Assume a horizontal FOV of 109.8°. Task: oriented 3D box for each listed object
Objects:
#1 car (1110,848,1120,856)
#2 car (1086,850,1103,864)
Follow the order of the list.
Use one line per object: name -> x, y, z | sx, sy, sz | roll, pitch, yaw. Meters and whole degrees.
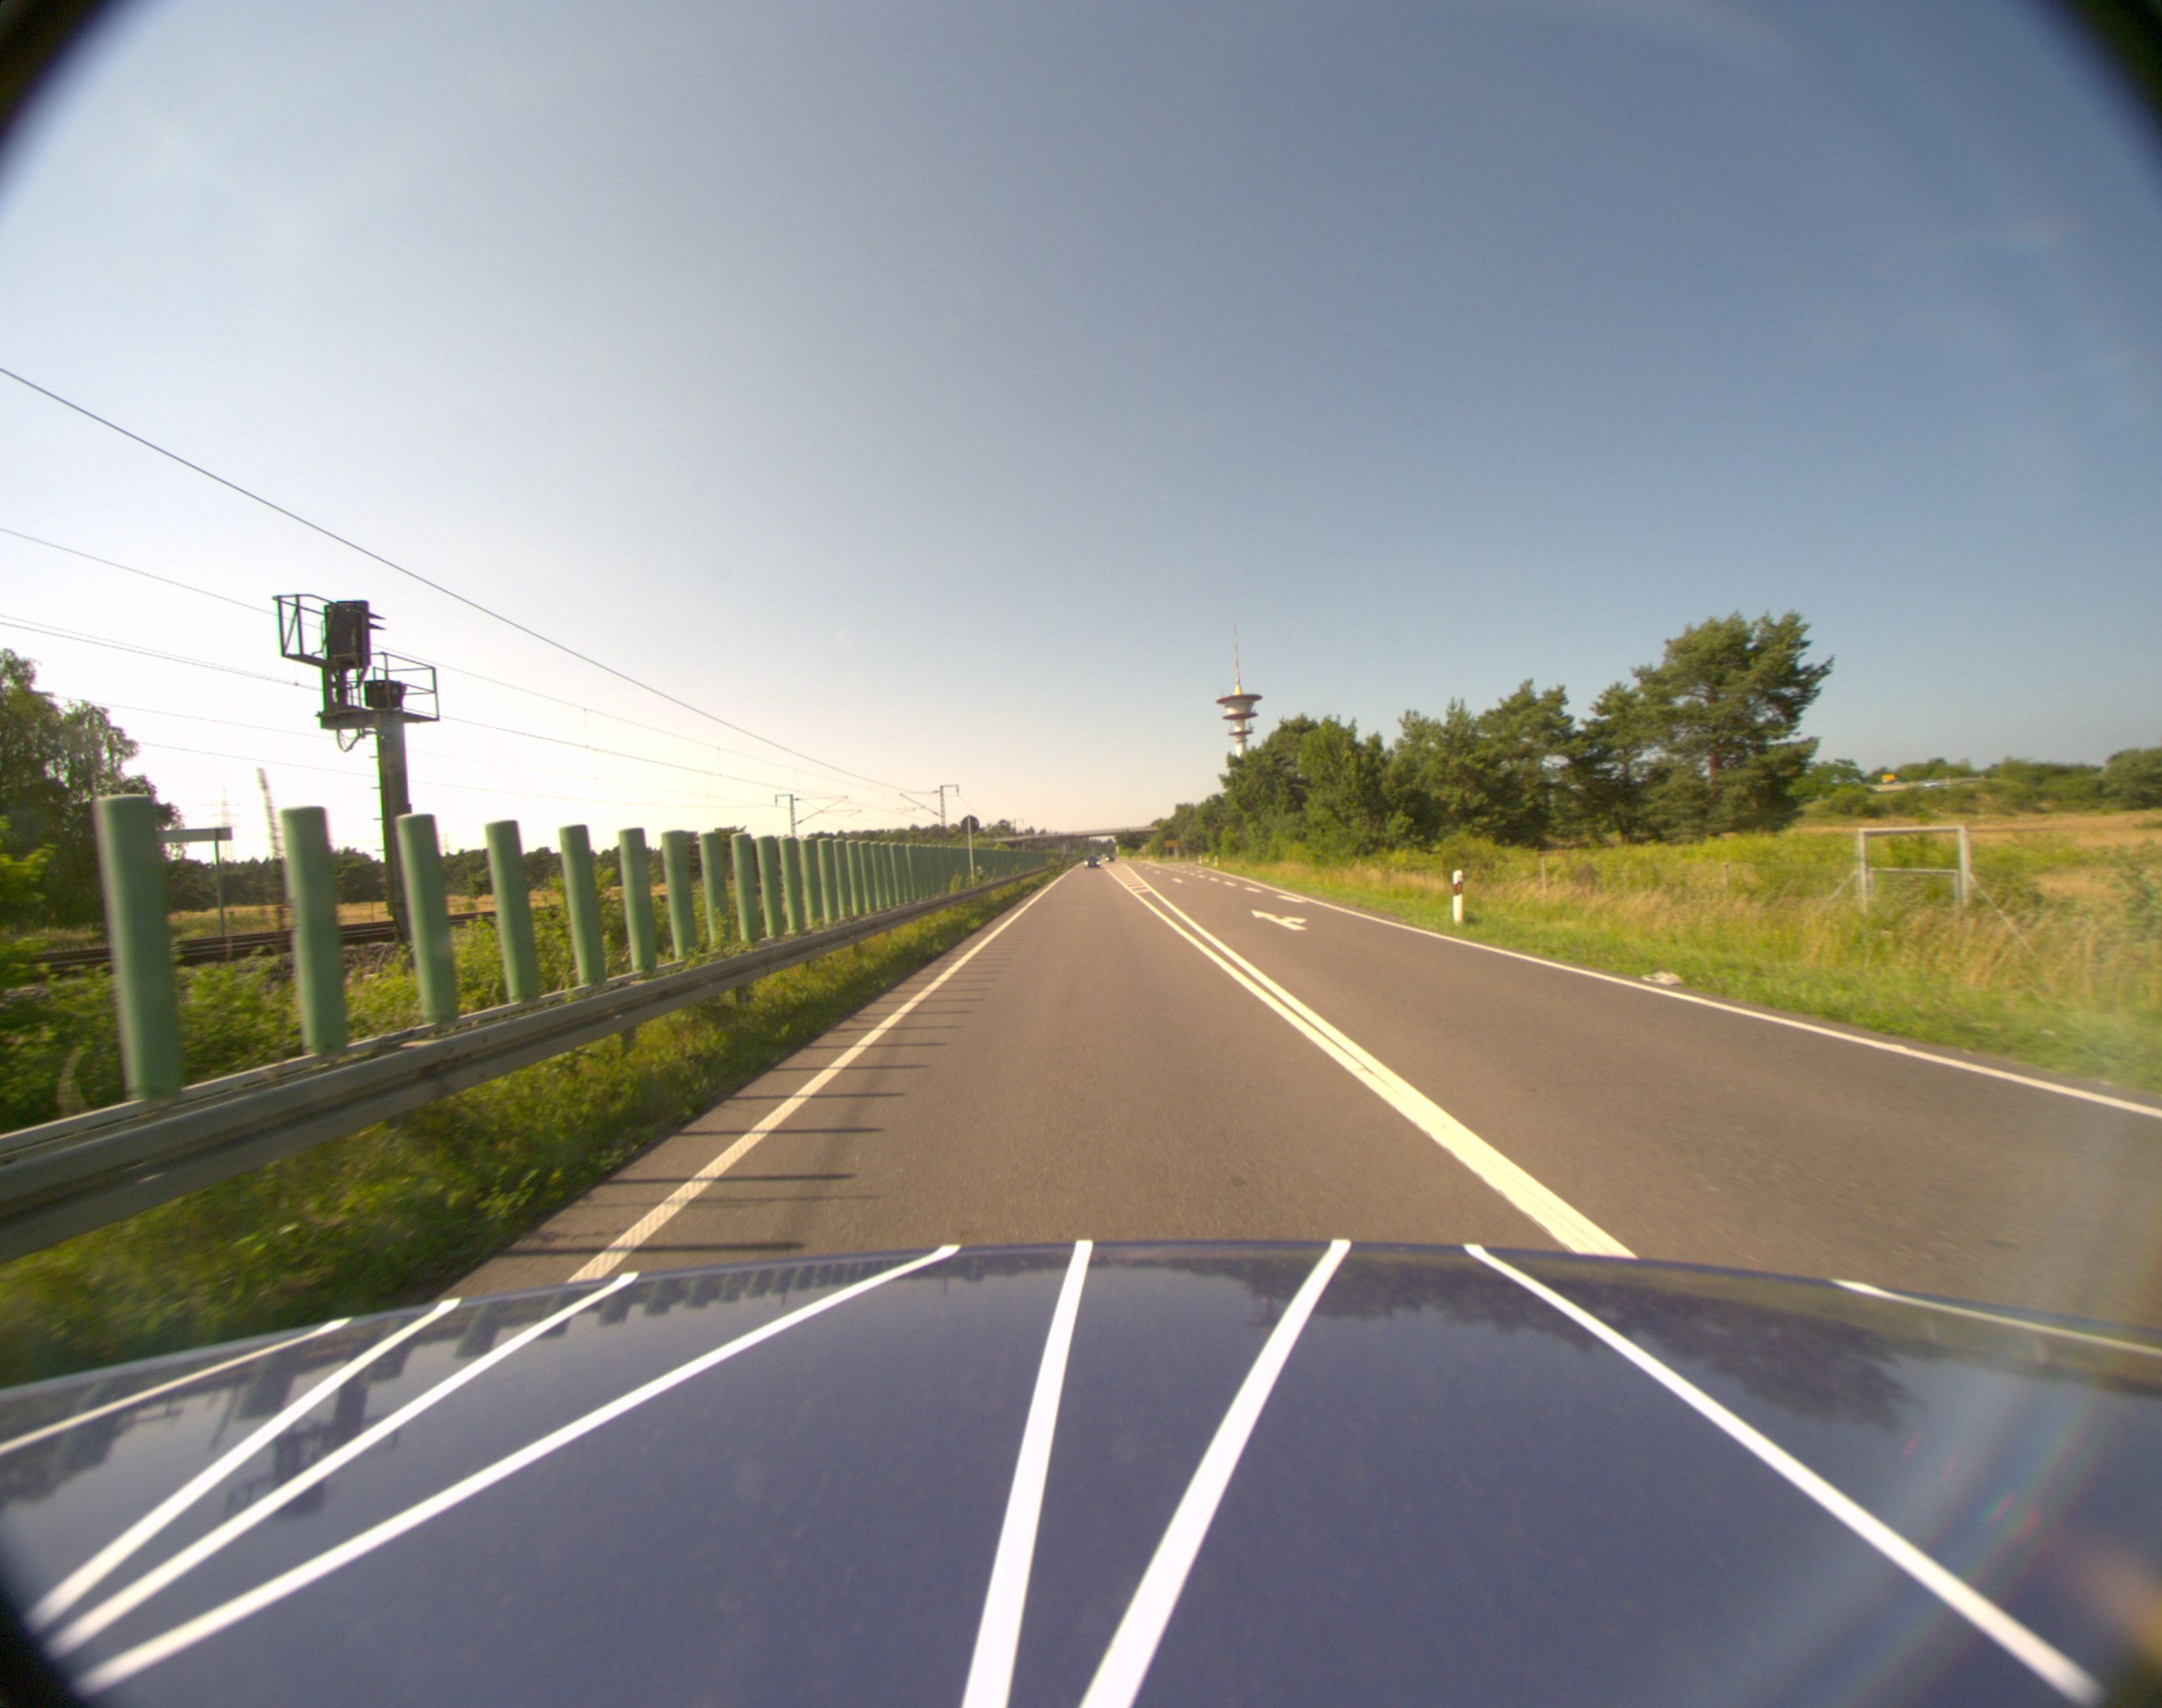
car -> 7.062, -0.436, 157.384 | 1.998, 1.533, 4.332 | -1, 0, 2
car -> 1.601, 0.313, 87.648 | 1.868, 1.533, 4.076 | -1, 1, 2
